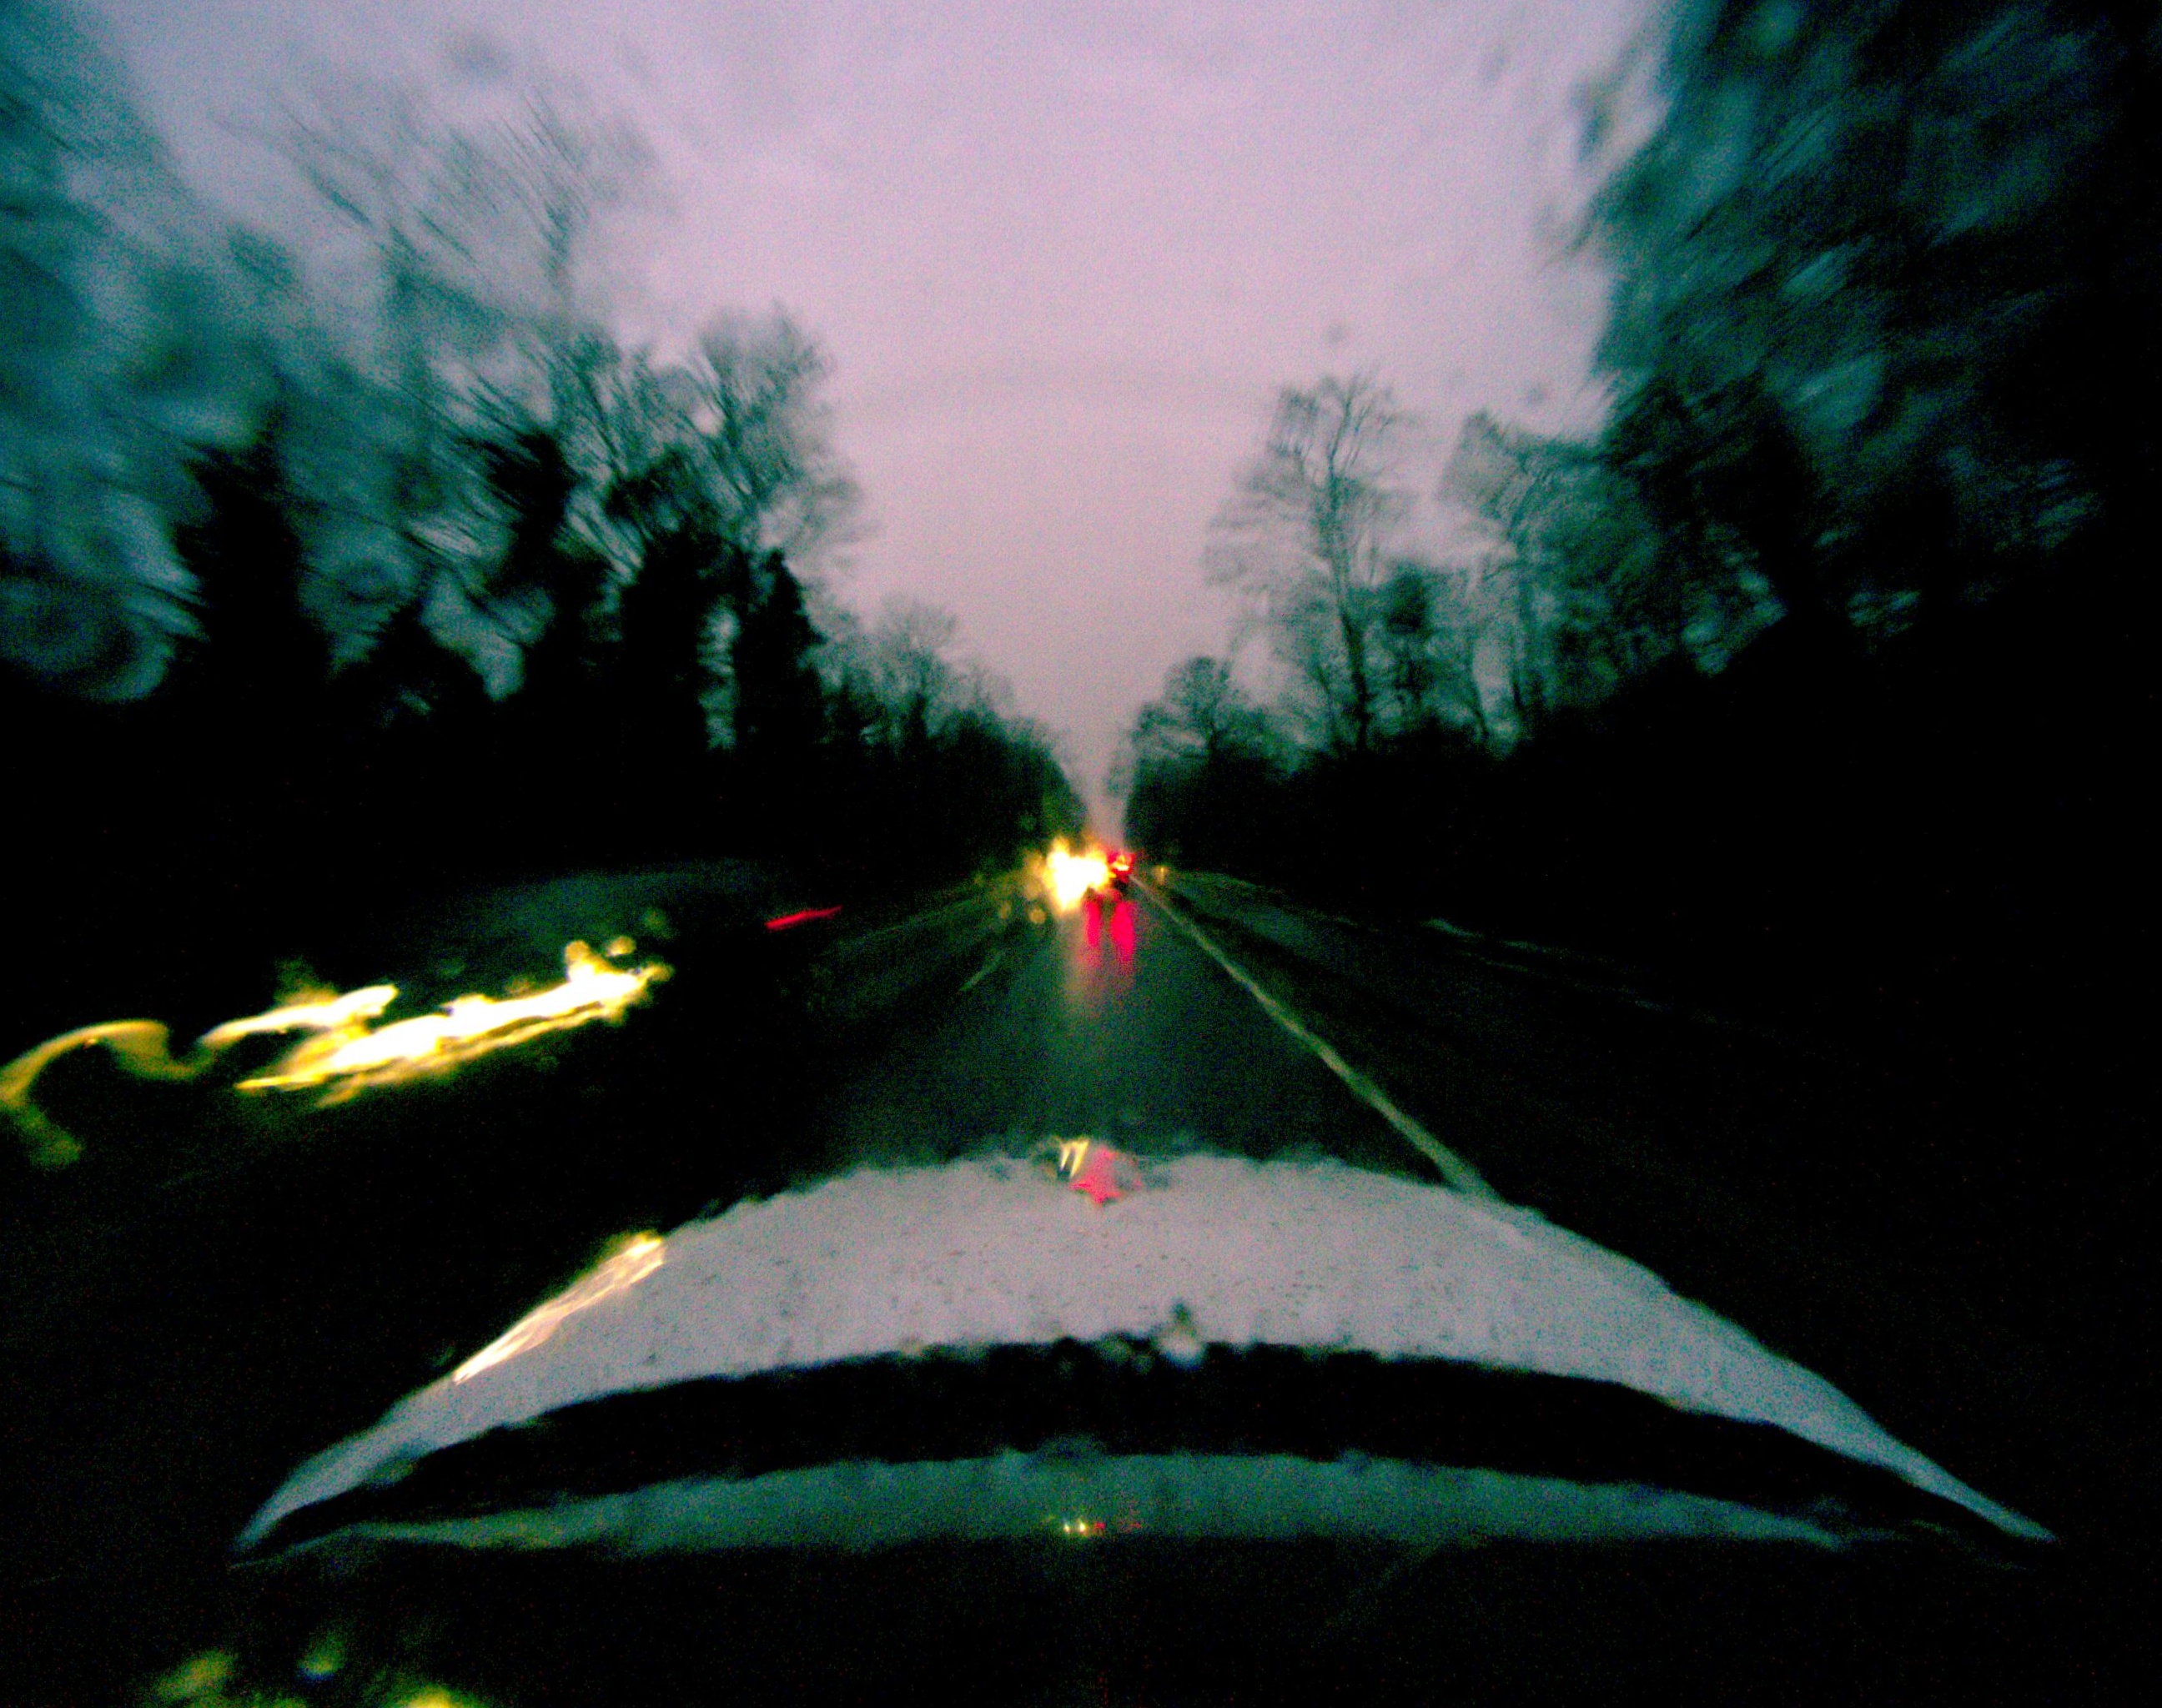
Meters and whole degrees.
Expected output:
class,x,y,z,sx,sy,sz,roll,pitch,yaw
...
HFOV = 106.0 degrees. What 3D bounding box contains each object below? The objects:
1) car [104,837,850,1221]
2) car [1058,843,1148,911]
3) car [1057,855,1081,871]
class,x,y,z,sx,sy,sz,roll,pitch,yaw
car,-3.443,0.776,6.102,1.815,1.649,4.752,-4,1,2
car,0.930,0.841,32.161,3.170,2.386,6.640,-1,0,3
car,-1.240,0.901,85.792,1.966,1.568,4.932,-3,0,4
